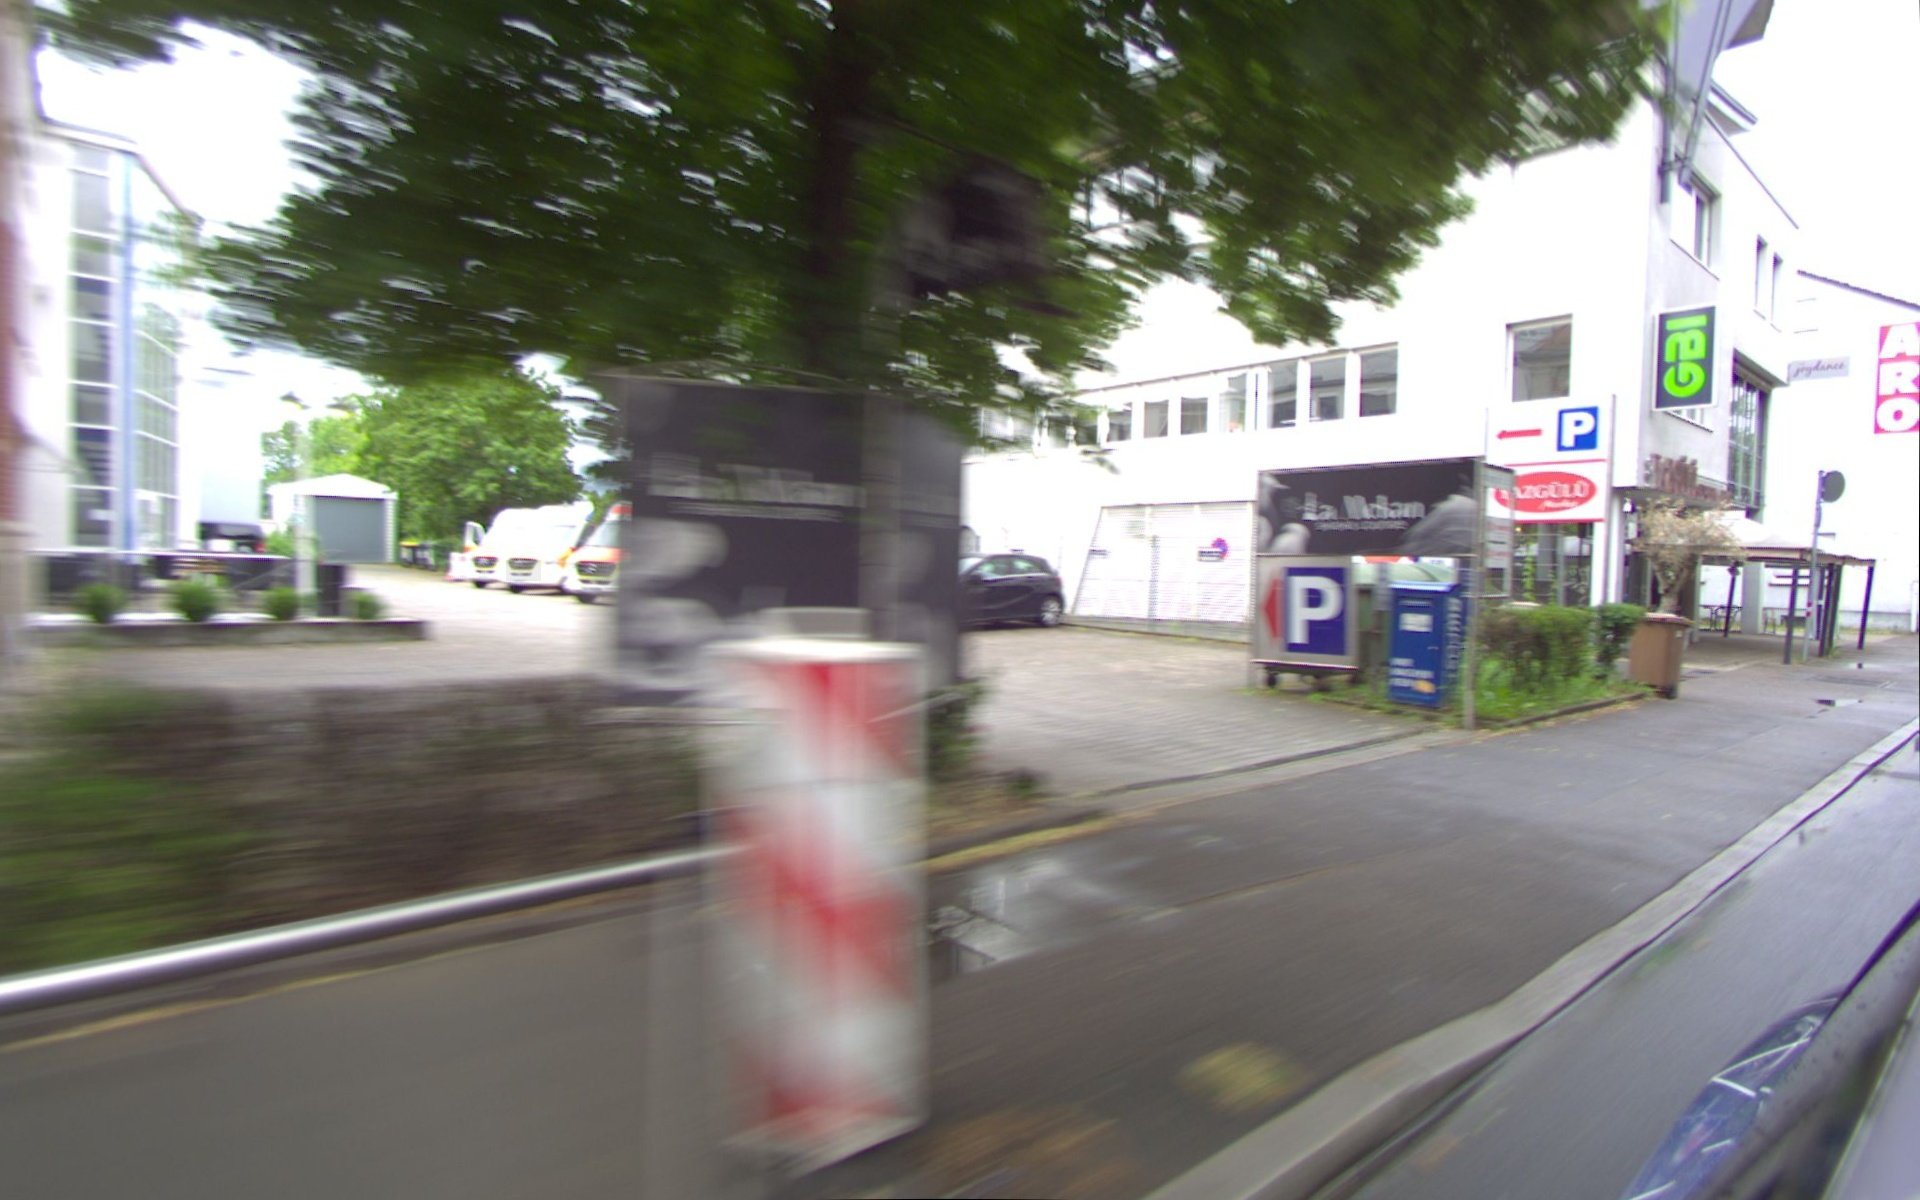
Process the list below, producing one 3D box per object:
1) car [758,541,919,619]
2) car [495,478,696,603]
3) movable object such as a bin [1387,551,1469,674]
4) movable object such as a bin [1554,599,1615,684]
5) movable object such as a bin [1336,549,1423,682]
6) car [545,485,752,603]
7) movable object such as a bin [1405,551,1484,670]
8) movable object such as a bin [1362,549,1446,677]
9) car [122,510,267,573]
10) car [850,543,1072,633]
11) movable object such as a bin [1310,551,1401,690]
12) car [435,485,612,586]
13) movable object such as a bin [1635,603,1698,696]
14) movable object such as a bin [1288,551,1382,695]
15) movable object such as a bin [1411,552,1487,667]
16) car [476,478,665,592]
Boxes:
[{"bbox_3d":[-2.536,-0.440,21.737,1.512,1.504,3.476,3,3,34],"label":"car"},{"bbox_3d":[-10.180,-1.555,28.982,2.110,3.163,6.164,-1,1,18],"label":"car"},{"bbox_3d":[6.016,0.140,13.020,0.615,1.527,0.738,0,2,-44],"label":"movable object such as a bin"},{"bbox_3d":[8.635,0.560,14.002,0.551,1.129,0.532,0,2,-38],"label":"movable object such as a bin"},{"bbox_3d":[5.028,0.167,12.141,0.615,1.526,0.738,0,2,-44],"label":"movable object such as a bin"},{"bbox_3d":[-7.987,-1.348,26.782,2.110,2.734,6.164,-1,1,18],"label":"car"},{"bbox_3d":[6.460,0.120,13.493,0.615,1.526,0.738,0,2,-44],"label":"movable object such as a bin"},{"bbox_3d":[5.522,0.143,12.590,0.615,1.526,0.738,0,2,-44],"label":"movable object such as a bin"},{"bbox_3d":[-26.608,-1.971,35.231,3.930,2.039,1.997,-1,1,-41],"label":"car"},{"bbox_3d":[0.095,-0.286,18.979,4.061,1.504,1.667,-2,4,-41],"label":"car"},{"bbox_3d":[4.563,0.216,11.675,0.615,1.526,0.738,0,2,-44],"label":"movable object such as a bin"},{"bbox_3d":[-14.872,-2.071,35.037,2.110,3.163,6.164,-1,1,18],"label":"car"},{"bbox_3d":[9.078,0.617,13.006,0.607,1.129,0.505,0,2,-40],"label":"movable object such as a bin"},{"bbox_3d":[4.148,0.230,11.216,0.615,1.519,0.738,0,2,-44],"label":"movable object such as a bin"},{"bbox_3d":[6.794,0.111,14.063,0.615,1.526,0.738,0,2,-44],"label":"movable object such as a bin"},{"bbox_3d":[-11.905,-1.865,31.549,2.110,3.163,6.164,-1,1,18],"label":"car"}]
